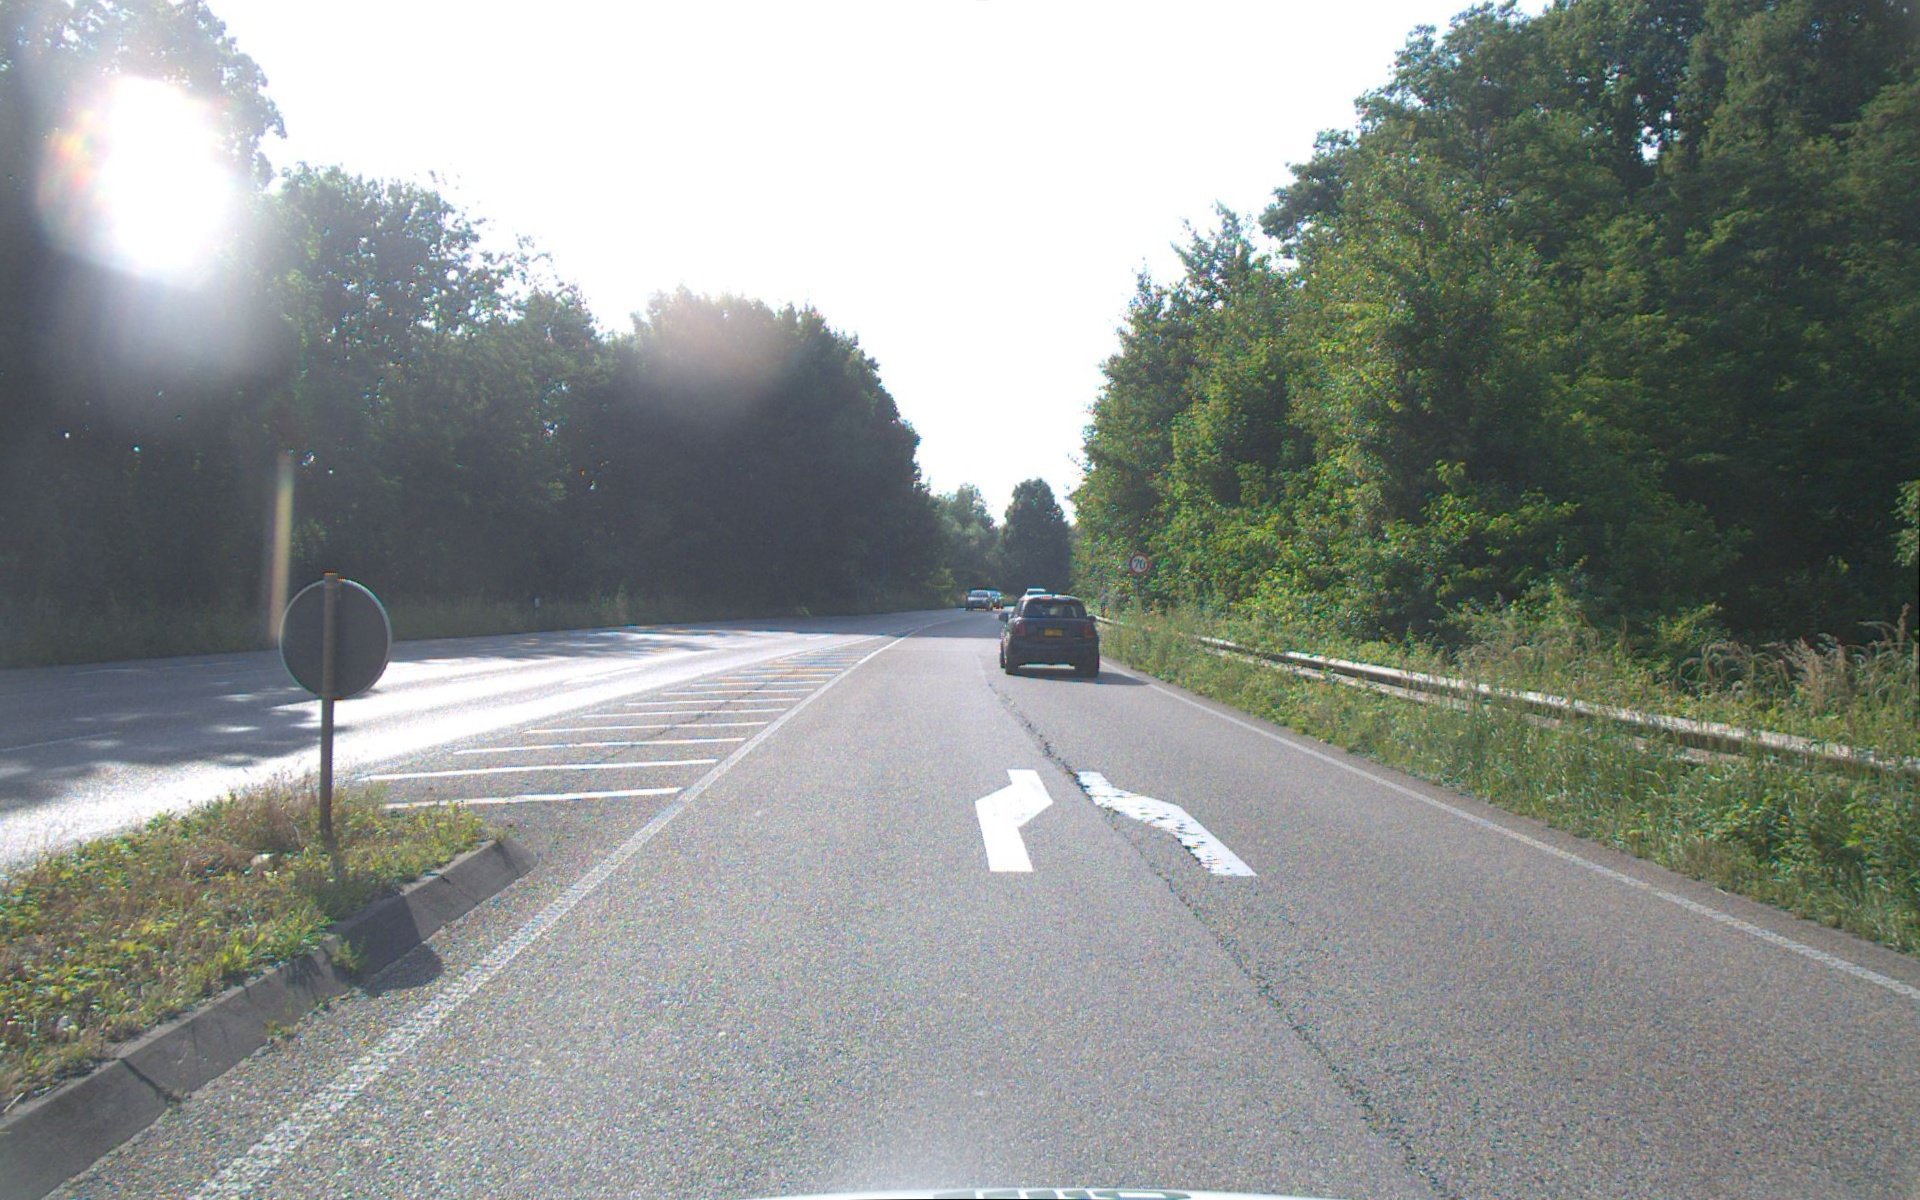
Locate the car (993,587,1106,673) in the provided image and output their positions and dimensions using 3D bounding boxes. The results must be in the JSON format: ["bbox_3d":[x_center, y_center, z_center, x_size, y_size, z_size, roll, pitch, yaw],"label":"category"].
[{"bbox_3d":[1.638,0.563,31.475,1.783,1.493,3.871,1,-1,-2],"label":"car"}]

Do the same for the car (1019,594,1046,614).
[{"bbox_3d":[5.300,0.283,120.774,1.725,1.404,3.971,1,-1,0],"label":"car"}]

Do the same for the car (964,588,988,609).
[{"bbox_3d":[1.197,-0.093,122.339,1.725,1.404,3.971,1,-1,0],"label":"car"}]

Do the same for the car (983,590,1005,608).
[{"bbox_3d":[2.777,-0.085,136.622,1.725,1.404,3.971,1,-1,0],"label":"car"}]
